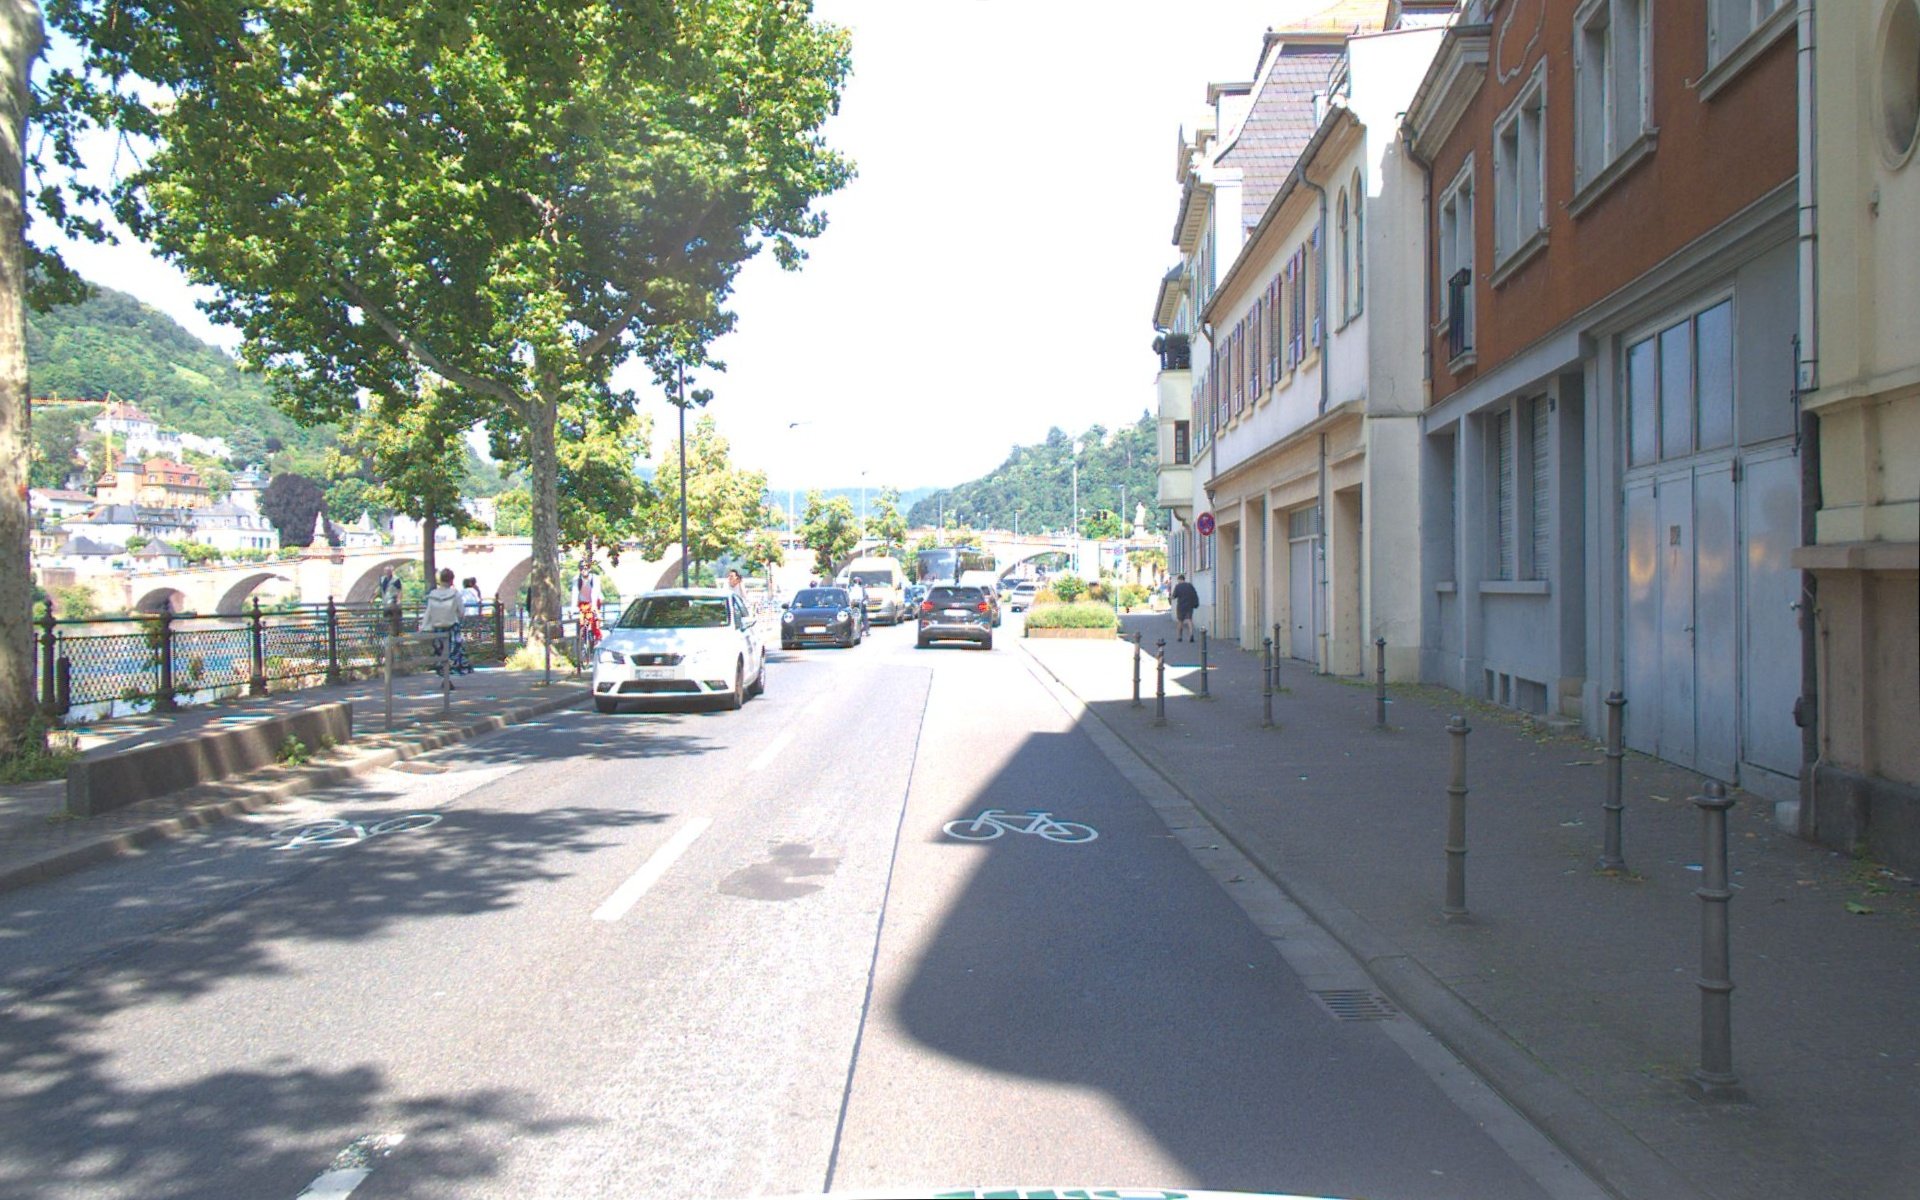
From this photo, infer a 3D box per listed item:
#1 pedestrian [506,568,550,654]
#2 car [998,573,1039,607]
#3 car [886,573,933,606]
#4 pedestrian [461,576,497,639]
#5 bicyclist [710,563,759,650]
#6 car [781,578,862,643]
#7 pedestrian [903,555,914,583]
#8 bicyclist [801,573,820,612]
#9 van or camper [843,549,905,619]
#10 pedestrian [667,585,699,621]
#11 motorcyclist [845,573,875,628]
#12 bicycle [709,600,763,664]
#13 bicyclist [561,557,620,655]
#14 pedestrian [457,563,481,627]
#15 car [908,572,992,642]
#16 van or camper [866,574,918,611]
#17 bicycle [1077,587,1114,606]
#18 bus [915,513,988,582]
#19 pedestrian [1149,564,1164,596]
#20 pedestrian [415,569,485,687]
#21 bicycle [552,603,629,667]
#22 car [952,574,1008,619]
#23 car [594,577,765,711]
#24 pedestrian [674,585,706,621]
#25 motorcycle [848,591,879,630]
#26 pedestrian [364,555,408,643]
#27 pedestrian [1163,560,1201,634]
[{"bbox_3d":[-8.793,0.223,33.662,0.643,1.712,0.758,2,0,0],"label":"pedestrian"},{"bbox_3d":[3.012,-0.524,83.860,1.886,1.580,4.834,-2,1,4],"label":"car"},{"bbox_3d":[-2.457,-0.544,80.668,1.775,1.453,4.313,-3,1,4],"label":"car"},{"bbox_3d":[-12.554,0.192,43.174,0.679,1.644,0.664,-1,0,6],"label":"pedestrian"},{"bbox_3d":[-4.202,0.111,30.866,0.751,1.558,1.025,0,2,1],"label":"bicyclist"},{"bbox_3d":[-3.376,0.225,40.968,1.666,1.483,4.001,-2,0,-1],"label":"car"},{"bbox_3d":[-3.327,-2.035,107.320,0.607,1.811,0.663,-1,0,7],"label":"pedestrian"},{"bbox_3d":[-6.749,-0.343,74.590,0.725,1.696,1.089,-1,1,1],"label":"bicyclist"},{"bbox_3d":[-3.314,-0.620,64.924,2.044,2.601,7.092,-1,0,0],"label":"van or camper"},{"bbox_3d":[-10.052,0.102,59.962,0.916,1.303,0.850,-1,0,8],"label":"pedestrian"},{"bbox_3d":[-3.003,0.006,49.663,0.861,1.611,1.025,-1,0,-2],"label":"motorcyclist"},{"bbox_3d":[-4.168,0.579,30.925,0.725,1.096,1.953,0,1,0],"label":"bicycle"},{"bbox_3d":[-6.247,0.091,27.984,0.704,1.611,1.089,-1,0,1],"label":"bicyclist"},{"bbox_3d":[-12.623,-0.125,42.541,0.406,1.625,0.451,-1,0,7],"label":"pedestrian"},{"bbox_3d":[-0.235,0.161,39.942,1.887,1.580,4.831,0,0,0],"label":"car"},{"bbox_3d":[-2.968,-0.343,73.356,1.952,1.480,4.683,-3,0,1],"label":"van or camper"},{"bbox_3d":[6.581,-0.163,80.364,1.772,0.893,0.502,1,1,3],"label":"bicycle"},{"bbox_3d":[-0.371,-2.989,97.942,2.575,3.626,12.993,-1,0,7],"label":"bus"},{"bbox_3d":[9.879,-1.002,83.193,0.745,1.623,0.696,-1,0,7],"label":"pedestrian"},{"bbox_3d":[-7.105,0.382,23.079,0.746,1.614,0.695,-1,0,-2],"label":"pedestrian"},{"bbox_3d":[-6.228,0.572,27.959,0.739,0.996,1.954,-1,1,3],"label":"bicycle"},{"bbox_3d":[0.716,-0.152,59.032,1.887,1.486,4.832,-1,1,1],"label":"car"},{"bbox_3d":[-3.464,0.478,21.069,1.667,1.470,4.090,0,2,-3],"label":"car"},{"bbox_3d":[-9.933,0.093,60.868,0.916,1.303,0.850,-1,0,8],"label":"pedestrian"},{"bbox_3d":[-2.912,0.304,49.643,0.866,1.096,2.326,-2,0,-5],"label":"motorcycle"},{"bbox_3d":[-13.080,-0.026,37.708,0.679,1.979,0.886,-1,0,-2],"label":"pedestrian"},{"bbox_3d":[5.406,-0.082,40.227,0.746,1.743,0.696,-4,0,2],"label":"pedestrian"}]
